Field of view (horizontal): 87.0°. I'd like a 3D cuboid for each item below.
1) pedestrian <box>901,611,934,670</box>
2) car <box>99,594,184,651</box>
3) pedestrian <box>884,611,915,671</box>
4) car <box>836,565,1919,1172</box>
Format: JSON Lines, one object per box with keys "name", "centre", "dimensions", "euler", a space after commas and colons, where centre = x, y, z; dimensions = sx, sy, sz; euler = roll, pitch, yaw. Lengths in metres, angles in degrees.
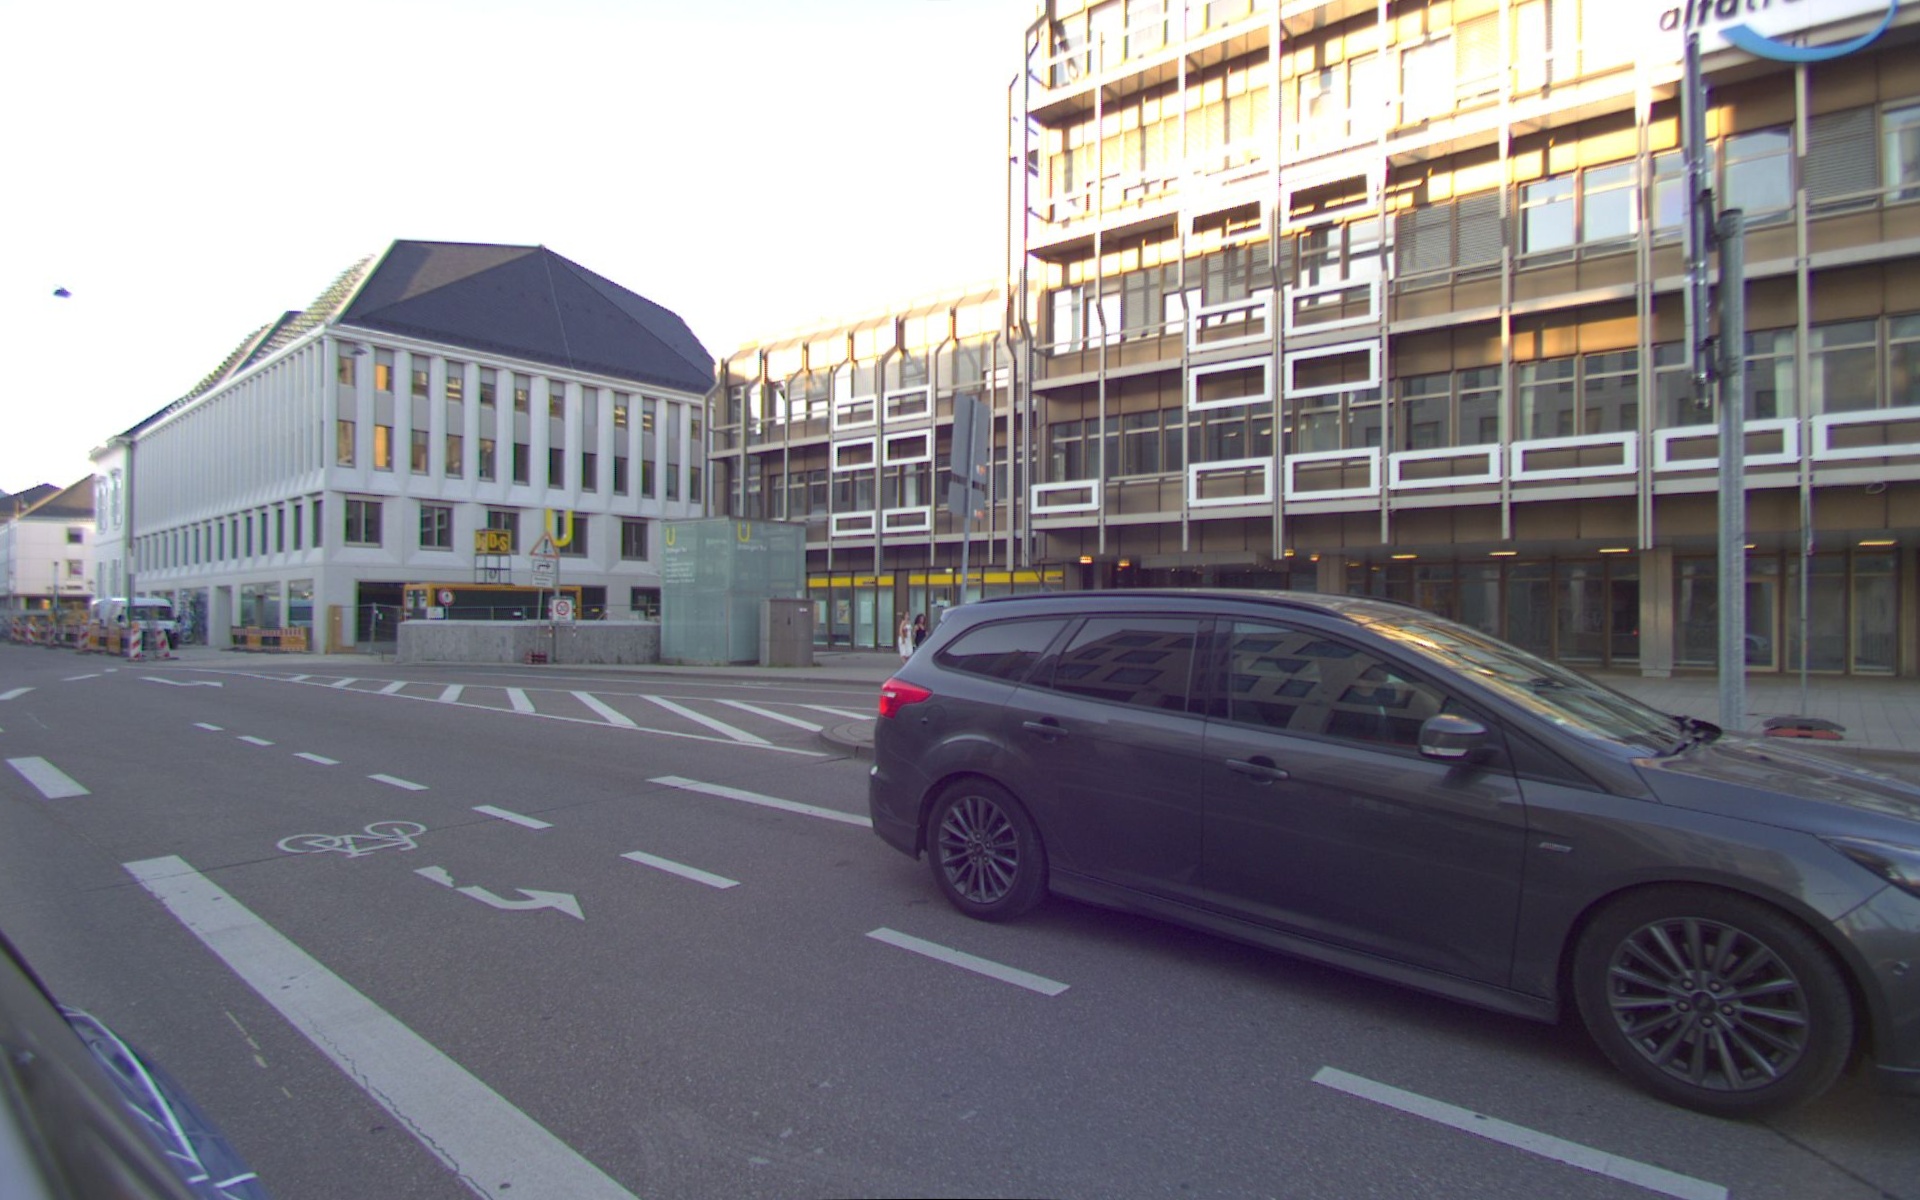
{"name": "pedestrian", "centre": [-1.197, 1.133, 28.577], "dimensions": [0.702, 1.651, 0.608], "euler": [-1, -2, 41]}
{"name": "car", "centre": [-39.396, 1.078, 48.651], "dimensions": [6.047, 2.575, 2.114], "euler": [-1, -2, 41]}
{"name": "pedestrian", "centre": [-1.682, 1.128, 28.132], "dimensions": [0.583, 1.651, 0.662], "euler": [-1, -2, 41]}
{"name": "car", "centre": [1.620, 0.663, 4.203], "dimensions": [4.377, 1.473, 1.740], "euler": [-1, 0, 40]}
